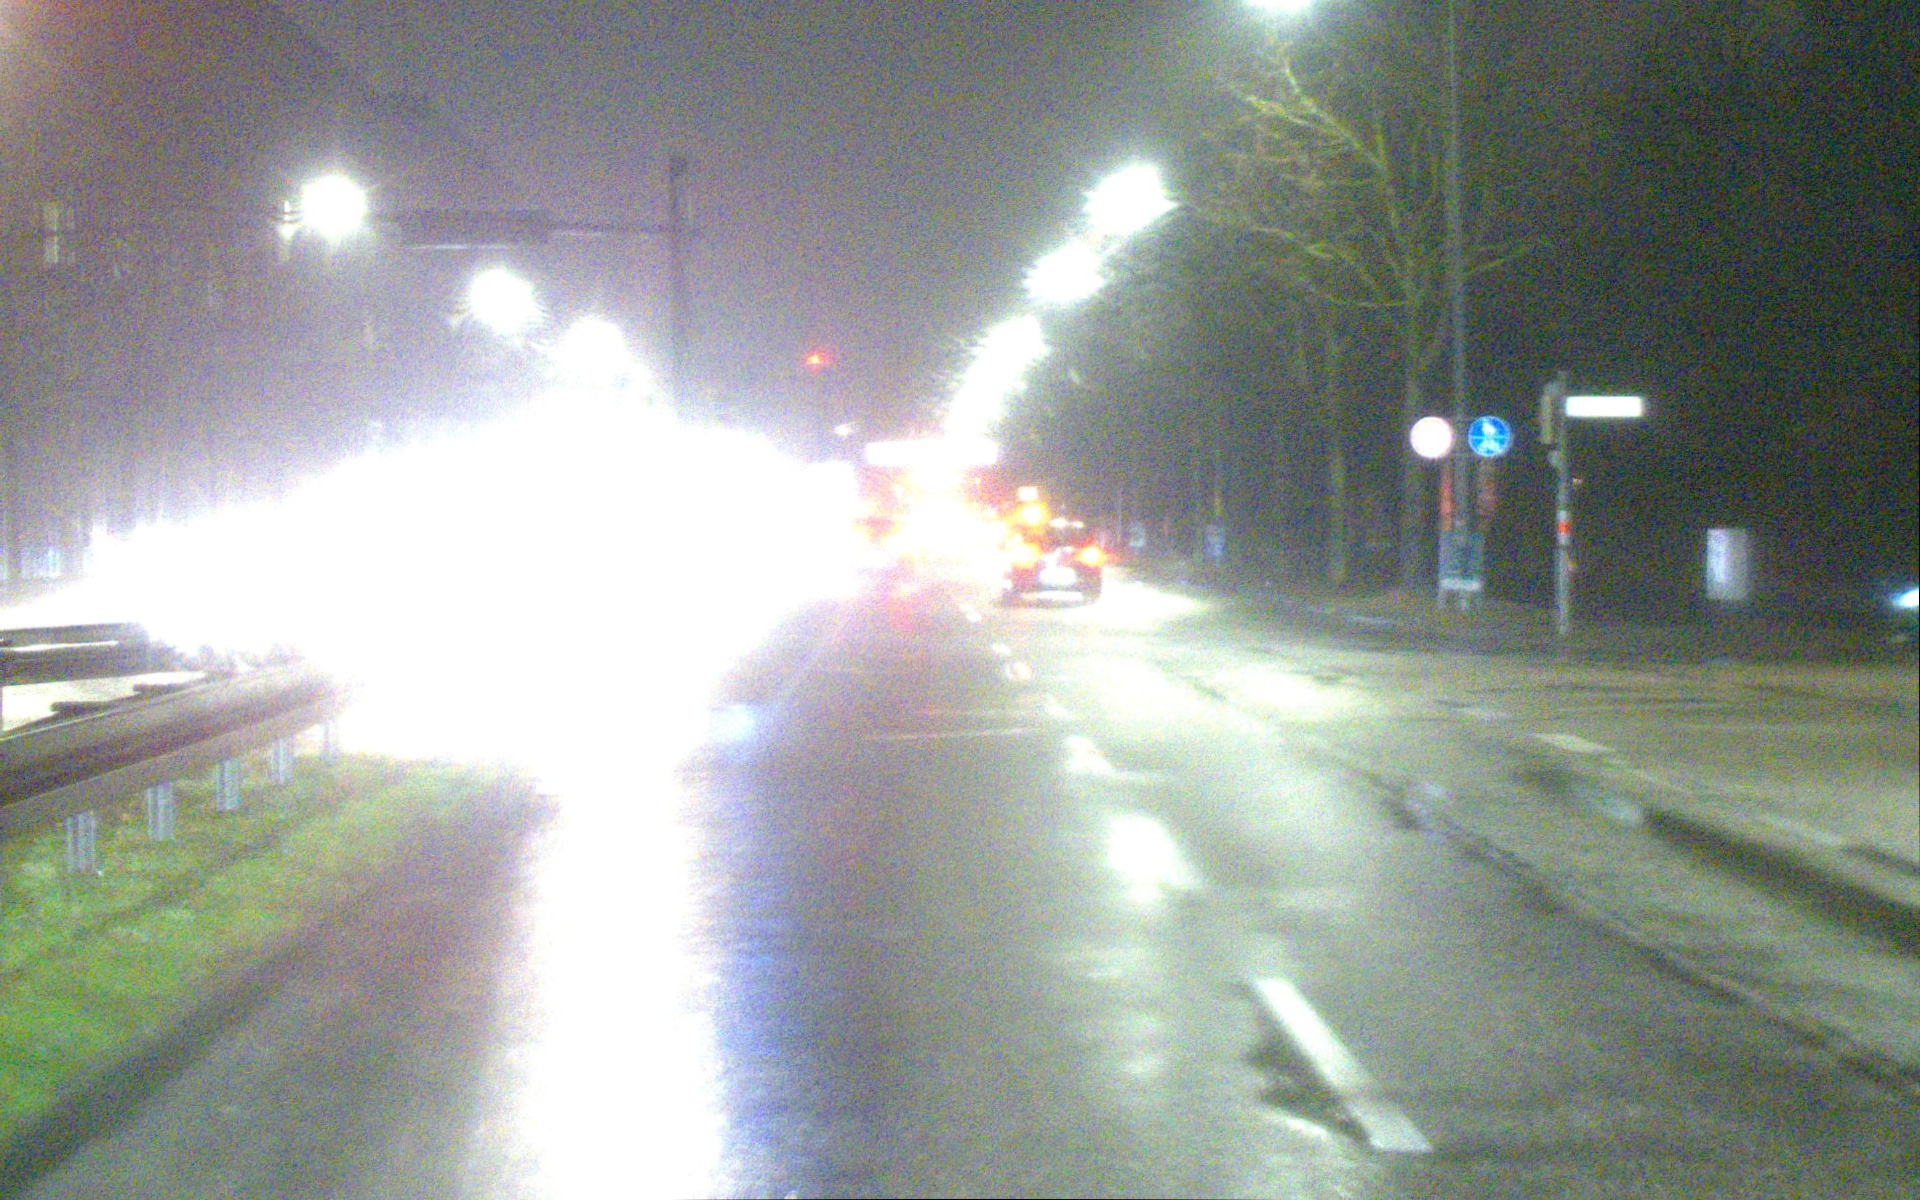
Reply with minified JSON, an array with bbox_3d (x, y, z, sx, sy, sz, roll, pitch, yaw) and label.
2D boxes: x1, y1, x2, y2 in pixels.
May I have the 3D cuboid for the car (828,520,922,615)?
[{"bbox_3d":[-1.824,-0.709,74.665,1.993,2.007,4.000,0,0,-1],"label":"car"}]

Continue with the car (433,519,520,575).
[{"bbox_3d":[-13.657,-1.473,97.248,1.885,1.547,4.433,0,0,-1],"label":"car"}]

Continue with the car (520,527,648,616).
[{"bbox_3d":[-7.038,-0.532,64.781,1.993,1.604,4.971,0,0,-2],"label":"car"}]

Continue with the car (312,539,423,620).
[{"bbox_3d":[-13.266,-0.473,77.176,1.749,1.703,4.499,-2,1,-1],"label":"car"}]

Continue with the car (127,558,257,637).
[{"bbox_3d":[-15.551,-0.069,69.792,1.800,1.559,4.000,0,0,-1],"label":"car"}]

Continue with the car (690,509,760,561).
[{"bbox_3d":[-7.209,-1.973,105.692,1.885,1.547,4.433,0,0,-1],"label":"car"}]

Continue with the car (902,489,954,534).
[{"bbox_3d":[-1.671,-4.570,177.950,2.441,2.186,5.079,0,0,-3],"label":"car"}]

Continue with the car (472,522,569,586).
[{"bbox_3d":[-10.861,-1.118,85.159,1.885,1.547,4.433,0,0,-1],"label":"car"}]

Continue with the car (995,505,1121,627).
[{"bbox_3d":[1.788,-0.631,64.008,2.208,2.207,3.643,0,0,0],"label":"car"}]

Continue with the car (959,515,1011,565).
[{"bbox_3d":[1.042,-2.433,140.549,2.038,2.007,4.307,0,0,1],"label":"car"}]
